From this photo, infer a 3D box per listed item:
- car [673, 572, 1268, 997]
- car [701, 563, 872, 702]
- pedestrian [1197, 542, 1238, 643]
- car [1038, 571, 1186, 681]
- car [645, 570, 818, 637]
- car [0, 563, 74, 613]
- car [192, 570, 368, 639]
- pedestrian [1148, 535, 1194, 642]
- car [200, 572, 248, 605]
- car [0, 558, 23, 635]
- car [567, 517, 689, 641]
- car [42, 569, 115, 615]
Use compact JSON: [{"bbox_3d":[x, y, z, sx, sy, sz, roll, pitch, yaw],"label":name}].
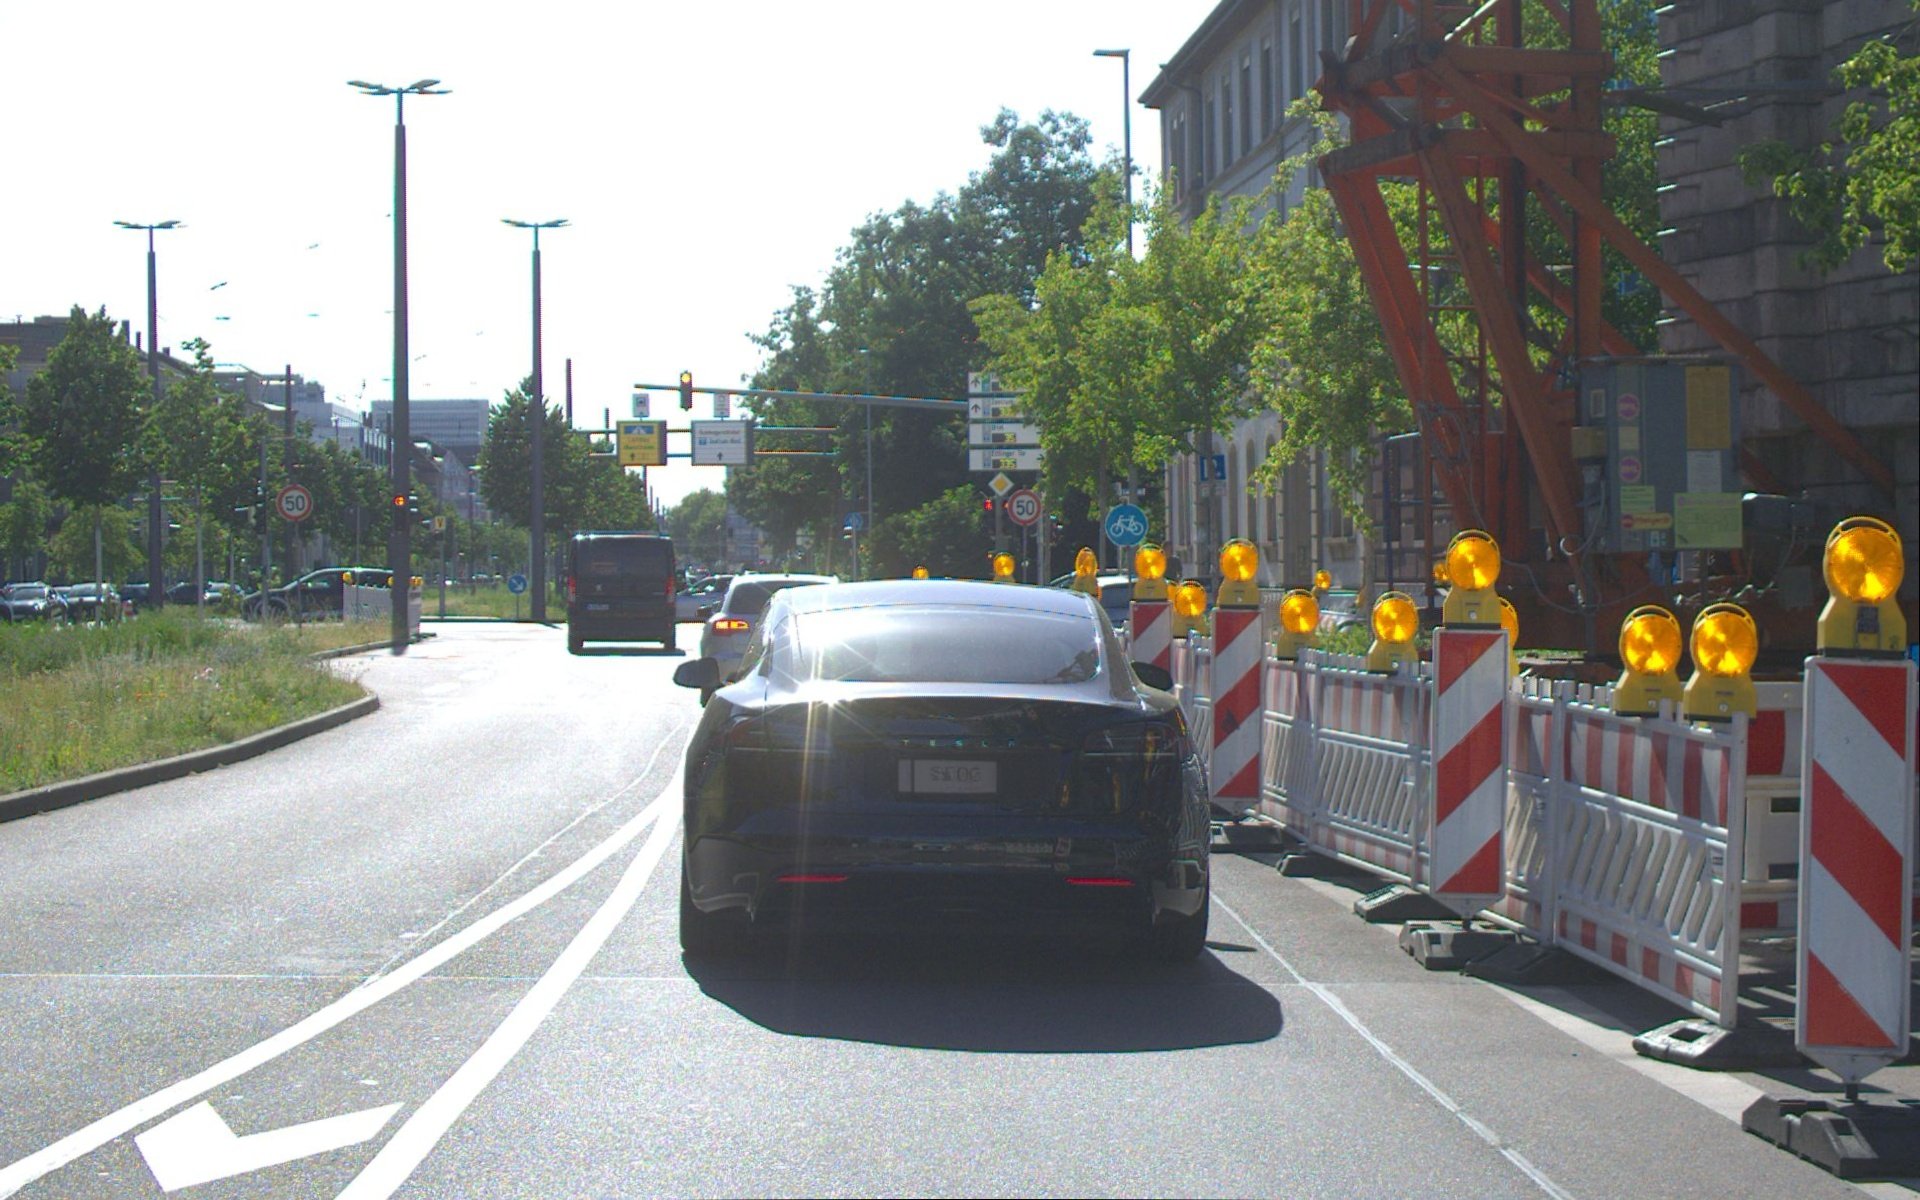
[{"bbox_3d":[-0.116,0.631,14.257,2.051,1.439,4.525,1,1,-4],"label":"car"},{"bbox_3d":[-1.964,0.312,37.948,1.747,1.422,4.839,1,1,-4],"label":"car"},{"bbox_3d":[4.676,-0.139,62.547,0.563,1.815,0.587,-3,1,-4],"label":"pedestrian"},{"bbox_3d":[2.200,0.351,50.854,1.647,1.470,4.701,-3,1,-3],"label":"car"},{"bbox_3d":[-6.138,0.083,92.836,4.512,1.786,2.000,0,0,1],"label":"car"},{"bbox_3d":[-31.458,-0.422,116.986,1.790,1.645,4.000,0,0,-3],"label":"car"},{"bbox_3d":[-18.027,0.102,91.099,4.511,1.786,2.001,0,0,-13],"label":"car"},{"bbox_3d":[3.833,-0.217,62.520,0.658,1.906,0.587,-3,1,-4],"label":"pedestrian"},{"bbox_3d":[-37.881,-0.605,176.962,1.790,1.645,4.000,0,0,-3],"label":"car"},{"bbox_3d":[-25.789,-0.083,86.311,3.973,1.912,1.915,0,1,-32],"label":"car"},{"bbox_3d":[-6.357,-0.422,66.073,2.217,2.259,4.485,1,1,-5],"label":"car"},{"bbox_3d":[-31.932,-0.305,124.652,1.790,1.645,4.000,0,0,-3],"label":"car"}]
